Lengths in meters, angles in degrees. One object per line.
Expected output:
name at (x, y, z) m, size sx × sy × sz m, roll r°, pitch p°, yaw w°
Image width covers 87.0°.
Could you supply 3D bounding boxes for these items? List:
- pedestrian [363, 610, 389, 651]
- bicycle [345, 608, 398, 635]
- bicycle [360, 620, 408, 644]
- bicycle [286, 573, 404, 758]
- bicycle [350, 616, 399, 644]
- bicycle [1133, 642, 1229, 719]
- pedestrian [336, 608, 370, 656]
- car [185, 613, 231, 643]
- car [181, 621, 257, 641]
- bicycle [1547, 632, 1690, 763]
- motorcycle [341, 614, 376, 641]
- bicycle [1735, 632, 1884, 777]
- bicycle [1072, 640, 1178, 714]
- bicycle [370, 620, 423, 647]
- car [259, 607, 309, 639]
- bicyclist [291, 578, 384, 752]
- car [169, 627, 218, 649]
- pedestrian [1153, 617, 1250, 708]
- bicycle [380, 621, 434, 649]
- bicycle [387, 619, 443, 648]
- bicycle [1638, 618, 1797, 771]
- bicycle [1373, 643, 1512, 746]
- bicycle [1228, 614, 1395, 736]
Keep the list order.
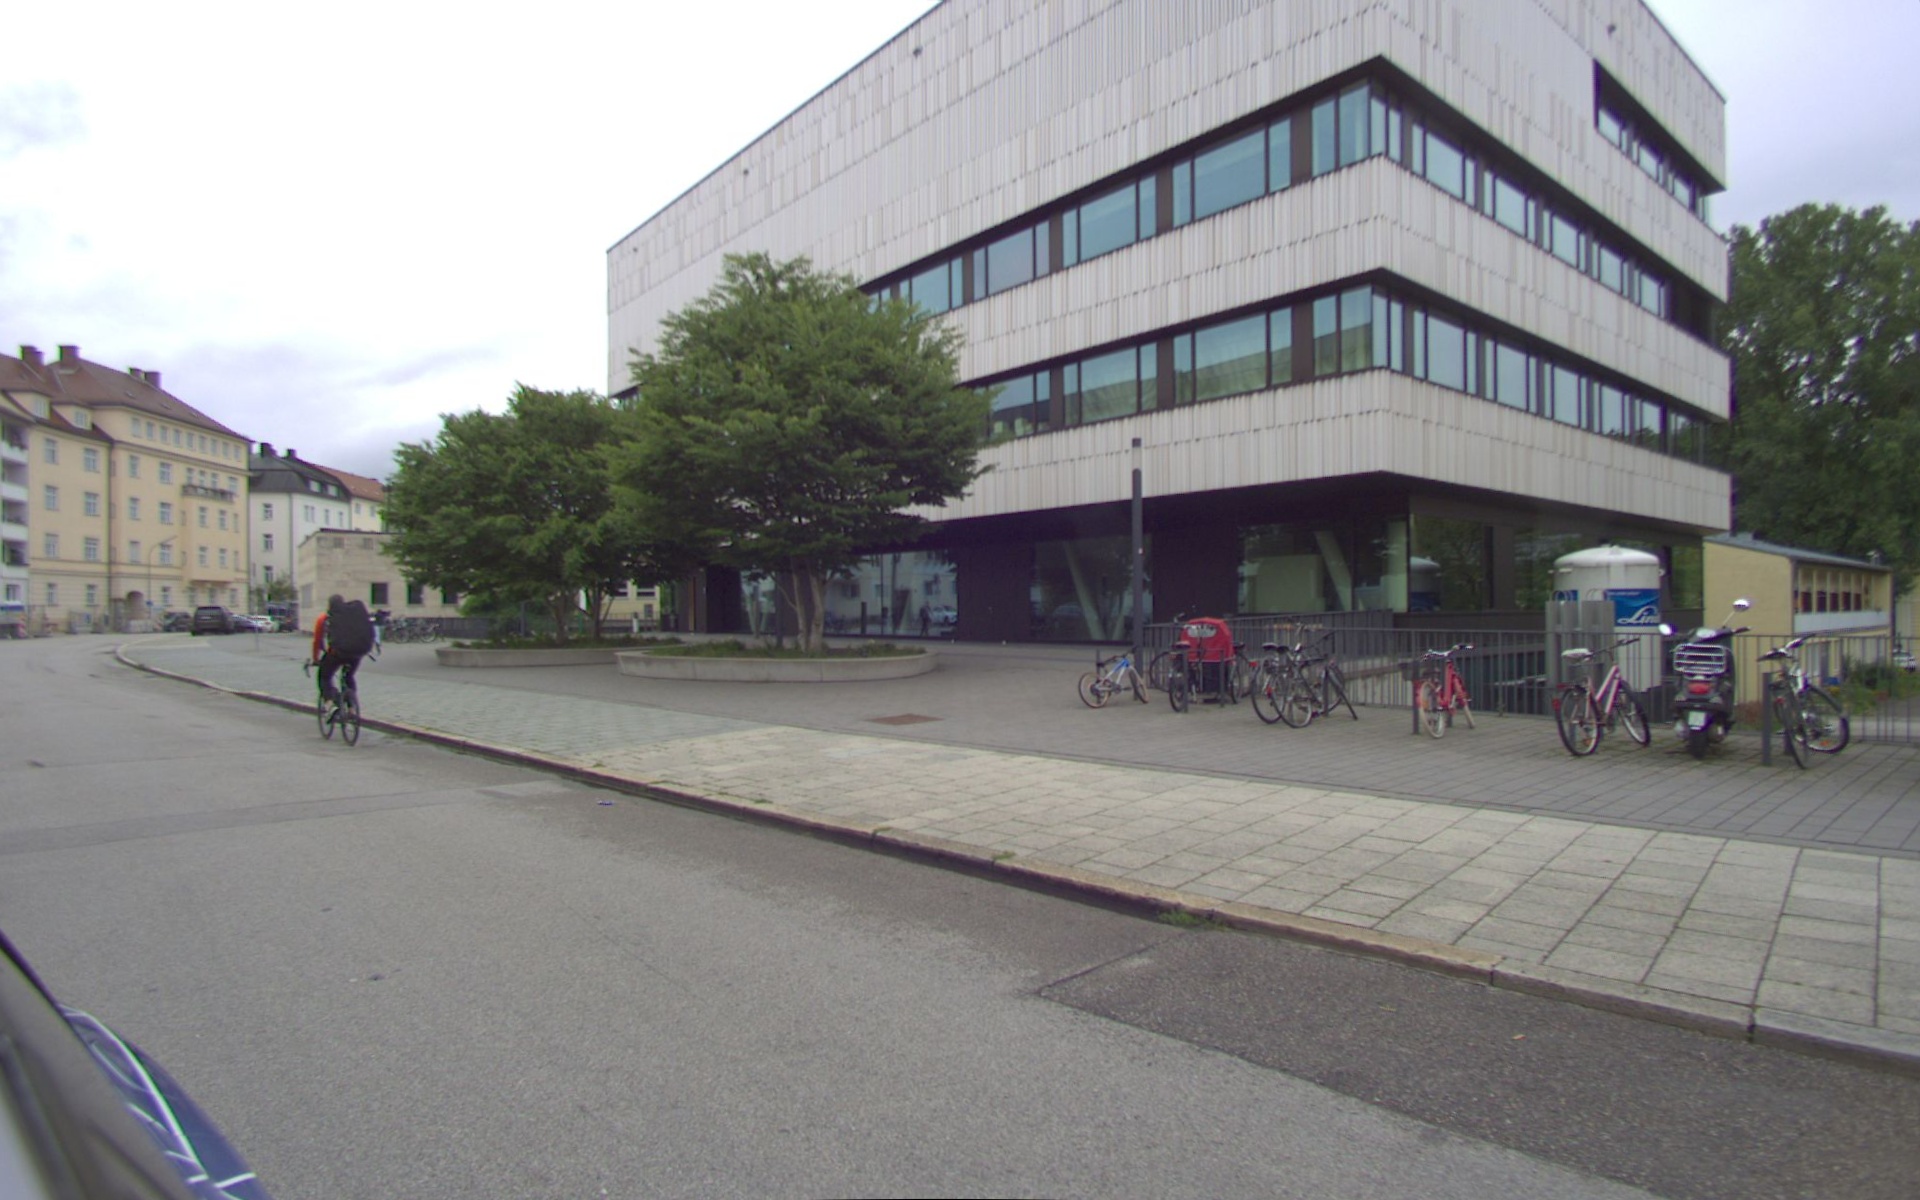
pedestrian at (-23.754, 1.251, 41.171) m, size 0.602 × 1.613 × 0.639 m, roll -3°, pitch -1°, yaw 24°
bicycle at (-27.241, 0.980, 46.859) m, size 0.616 × 1.119 × 2.024 m, roll -3°, pitch 0°, yaw 42°
bicycle at (-29.214, 1.606, 51.360) m, size 2.021 × 1.119 × 0.617 m, roll -3°, pitch 0°, yaw -42°
bicycle at (-7.612, 0.783, 12.444) m, size 0.739 × 2.029 × 2.852 m, roll 3°, pitch -4°, yaw -41°
bicycle at (-30.647, 1.550, 52.982) m, size 2.072 × 1.362 × 0.614 m, roll -3°, pitch -1°, yaw -42°
bicycle at (2.873, 1.020, 13.104) m, size 1.355 × 0.868 × 0.440 m, roll -3°, pitch -1°, yaw -40°
pedestrian at (-23.291, 1.227, 38.857) m, size 1.013 × 1.796 × 0.779 m, roll -1°, pitch 1°, yaw 39°
car at (-47.338, 1.747, 63.764) m, size 1.966 × 1.785 × 4.828 m, roll -1°, pitch -2°, yaw -32°
car at (-52.245, 2.204, 71.399) m, size 1.743 × 1.384 × 3.964 m, roll 1°, pitch -2°, yaw 31°
bicycle at (6.244, 0.879, 9.563) m, size 1.767 × 1.041 × 0.508 m, roll -3°, pitch 0°, yaw -37°
motorcycle at (-33.330, 1.520, 56.108) m, size 1.544 × 1.416 × 0.516 m, roll -3°, pitch -1°, yaw -39°
bicycle at (7.382, 0.853, 8.764) m, size 1.842 × 1.037 × 0.541 m, roll -3°, pitch 0°, yaw -37°
bicycle at (2.332, 1.052, 14.160) m, size 1.697 × 0.868 × 0.440 m, roll -3°, pitch 0°, yaw -41°
bicycle at (-25.847, 1.538, 46.433) m, size 2.022 × 1.119 × 0.617 m, roll -3°, pitch -1°, yaw -44°
car at (-57.713, 1.983, 86.534) m, size 2.114 × 2.594 × 6.231 m, roll 1°, pitch -2°, yaw -20°
bicyclist at (-7.615, 0.790, 12.387) m, size 0.757 × 2.029 × 0.769 m, roll 4°, pitch -5°, yaw -41°
car at (-68.647, 3.396, 90.648) m, size 1.814 × 1.743 × 3.735 m, roll -3°, pitch 0°, yaw -7°
pedestrian at (3.349, 0.849, 14.047) m, size 0.709 × 1.171 × 1.042 m, roll -2°, pitch -1°, yaw -42°
bicycle at (-24.650, 1.553, 45.132) m, size 2.022 × 1.119 × 0.617 m, roll -3°, pitch -1°, yaw -44°
bicycle at (-23.784, 1.466, 44.206) m, size 2.022 × 1.119 × 0.617 m, roll -3°, pitch -1°, yaw -44°
bicycle at (6.981, 0.797, 9.268) m, size 2.520 × 1.215 × 0.425 m, roll 0°, pitch -2°, yaw -37°
bicycle at (5.168, 0.969, 10.797) m, size 1.653 × 0.923 × 0.596 m, roll -3°, pitch 0°, yaw -37°
bicycle at (4.203, 0.844, 12.039) m, size 2.077 × 1.237 × 0.788 m, roll -3°, pitch 0°, yaw -37°
